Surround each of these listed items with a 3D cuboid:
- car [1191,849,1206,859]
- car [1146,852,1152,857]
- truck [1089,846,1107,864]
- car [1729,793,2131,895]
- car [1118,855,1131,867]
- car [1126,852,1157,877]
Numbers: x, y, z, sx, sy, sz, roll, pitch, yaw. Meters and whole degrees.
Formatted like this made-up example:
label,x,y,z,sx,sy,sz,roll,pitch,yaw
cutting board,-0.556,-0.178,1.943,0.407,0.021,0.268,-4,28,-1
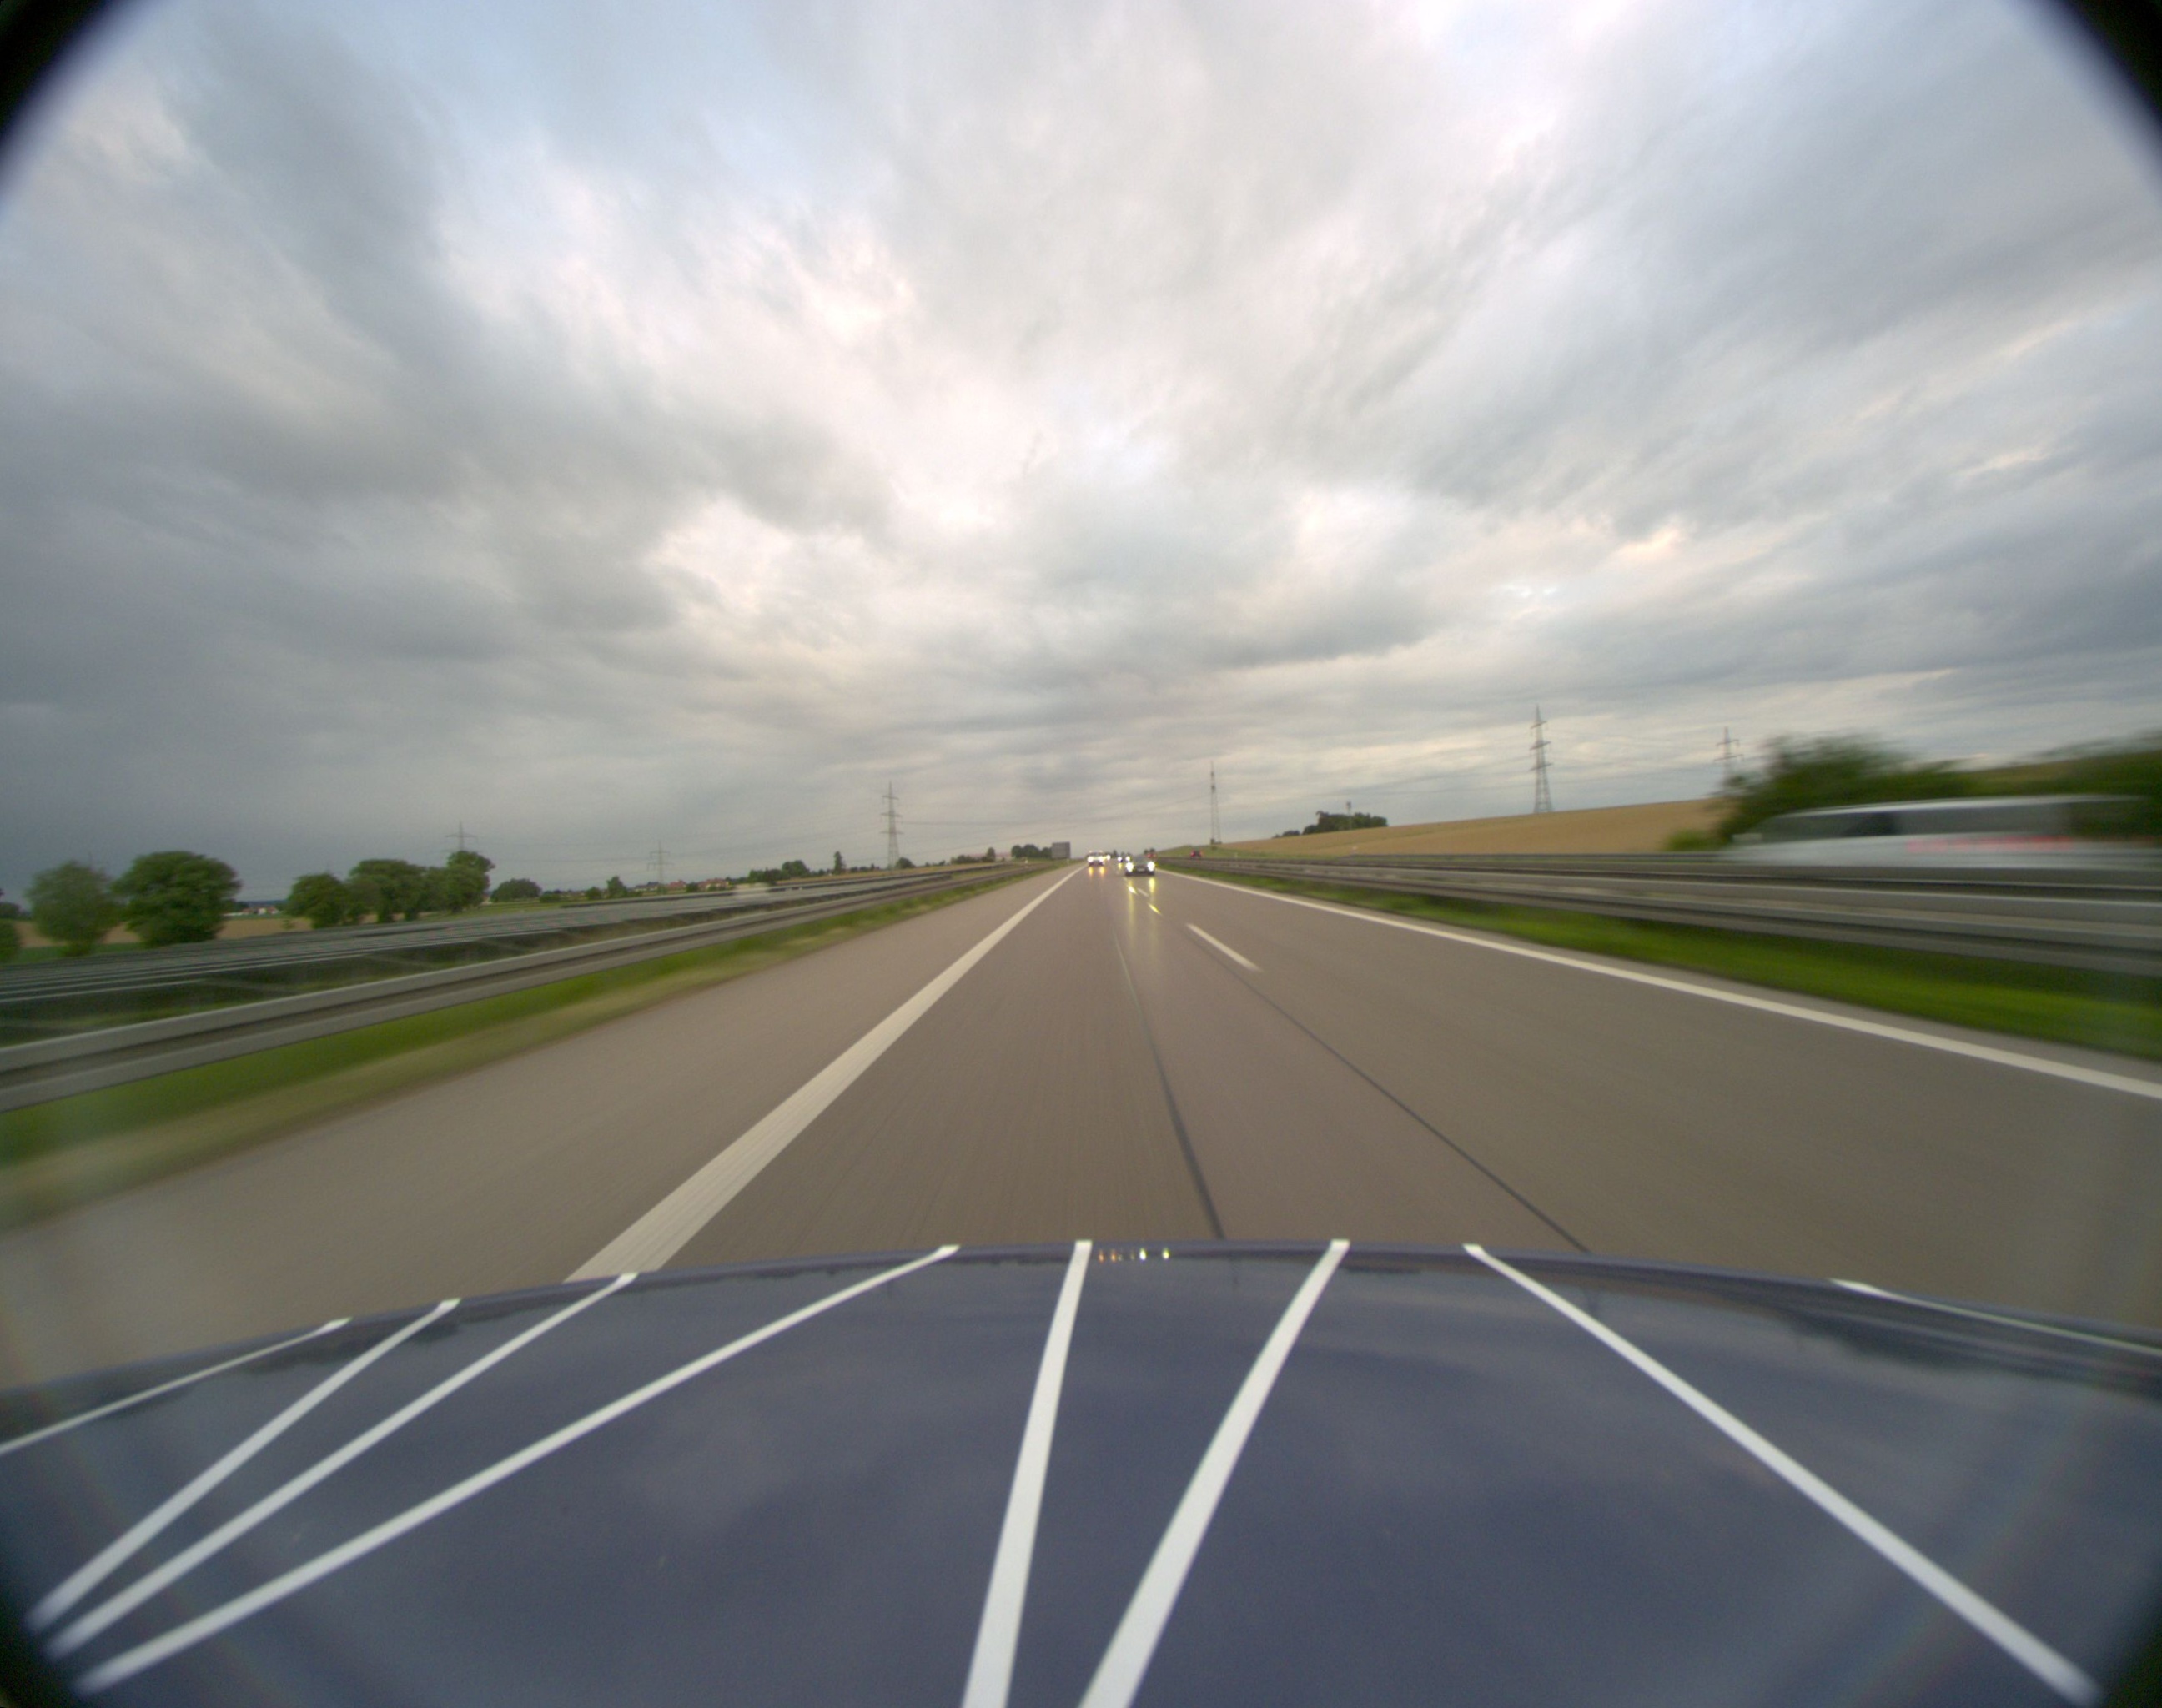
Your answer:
label,x,y,z,sx,sy,sz,roll,pitch,yaw
car,21.149,0.025,136.566,1.891,1.683,5.769,-5,0,2
car,22.361,0.102,248.376,1.570,1.357,4.621,-5,0,2
truck,2.482,0.128,107.849,2.177,2.346,7.698,-5,0,2
car,17.161,-0.147,16.045,1.998,1.617,5.736,-5,0,0
car,8.172,1.326,142.347,1.998,2.001,4.461,-5,0,1
car,4.316,0.705,54.820,1.951,1.619,4.537,-3,0,3
